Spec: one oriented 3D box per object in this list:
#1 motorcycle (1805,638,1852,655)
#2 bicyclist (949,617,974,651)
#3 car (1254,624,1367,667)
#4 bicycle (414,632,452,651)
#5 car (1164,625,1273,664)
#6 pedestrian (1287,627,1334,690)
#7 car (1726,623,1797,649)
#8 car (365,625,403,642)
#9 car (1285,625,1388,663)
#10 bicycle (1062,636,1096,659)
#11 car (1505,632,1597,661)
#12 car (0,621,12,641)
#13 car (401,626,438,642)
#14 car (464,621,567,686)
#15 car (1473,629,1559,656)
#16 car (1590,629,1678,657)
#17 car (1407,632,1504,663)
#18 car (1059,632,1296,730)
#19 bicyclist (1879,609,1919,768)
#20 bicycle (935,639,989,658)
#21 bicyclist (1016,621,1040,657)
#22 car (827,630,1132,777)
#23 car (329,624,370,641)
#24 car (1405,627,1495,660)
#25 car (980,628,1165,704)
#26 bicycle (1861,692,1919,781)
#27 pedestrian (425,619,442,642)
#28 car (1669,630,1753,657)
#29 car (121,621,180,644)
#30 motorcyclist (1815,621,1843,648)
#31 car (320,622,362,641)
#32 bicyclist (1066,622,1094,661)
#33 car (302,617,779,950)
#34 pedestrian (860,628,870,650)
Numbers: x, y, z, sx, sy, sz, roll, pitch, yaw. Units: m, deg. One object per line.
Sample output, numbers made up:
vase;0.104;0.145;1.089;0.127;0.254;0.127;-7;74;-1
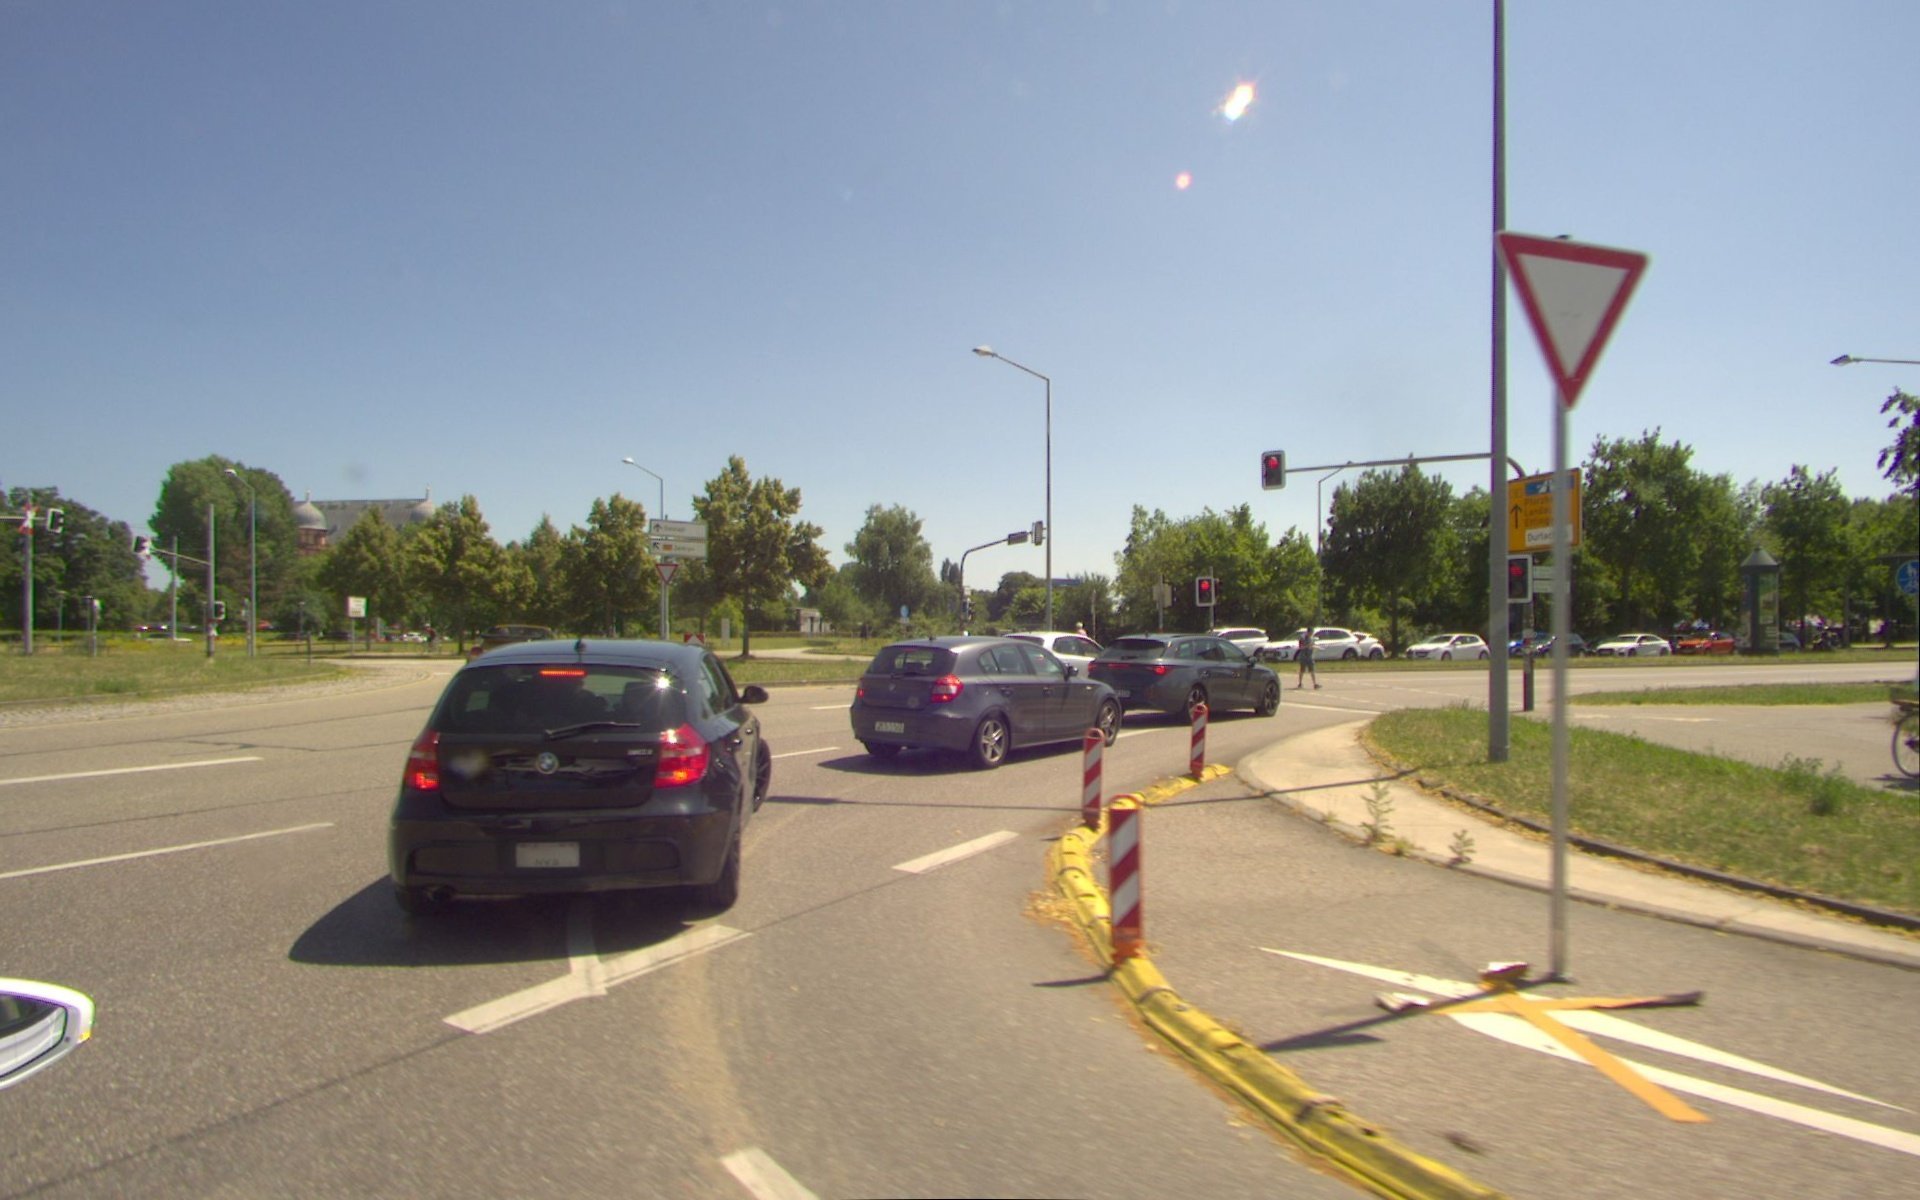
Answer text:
motorcycle;52.745;2.820;60.777;2.768;0.964;0.897;1;-3;-19
bicyclist;0.057;1.689;49.328;0.967;1.634;0.751;-2;-3;40
car;14.688;1.891;41.980;4.335;1.705;1.859;1;-1;-22
bicycle;-33.099;2.605;62.909;2.021;1.129;0.729;1;-2;-15
car;11.204;1.919;43.370;4.335;1.639;1.859;1;-1;-22
pedestrian;9.405;1.571;26.904;0.744;1.658;0.954;1;-2;-21
car;47.200;2.132;58.965;3.736;1.493;1.716;2;-3;-23
car;-72.379;4.187;125.838;3.937;2.038;1.994;2;-3;-25
car;17.452;2.004;46.429;4.335;1.705;1.859;1;-1;-22
bicycle;5.053;2.022;42.547;0.881;0.911;2.226;2;-3;-8
car;30.466;2.377;51.601;4.335;1.440;1.859;1;-1;-22
car;-77.912;2.420;79.084;3.941;1.593;1.992;2;-3;-28
car;-70.851;4.494;131.342;3.930;2.038;1.997;1;-3;-18
car;-10.408;1.245;23.688;1.800;1.420;3.656;1;-2;-18
car;30.865;2.323;55.565;4.335;1.440;1.859;1;-1;-22
car;36.507;2.326;54.212;4.335;1.440;1.859;1;-1;-22
car;24.310;2.302;49.130;4.335;1.440;1.859;1;-1;-22
car;3.847;1.282;17.226;1.979;1.436;4.415;-1;-2;44
bicyclist;10.398;0.924;10.377;0.734;1.661;1.163;0;-1;6
bicycle;0.075;2.395;49.296;2.895;0.923;0.735;-2;-3;40
bicyclist;3.065;1.743;45.025;0.941;1.551;1.186;0;0;-3
car;0.410;1.095;12.170;1.730;1.421;4.056;0;-1;35
car;-74.212;3.957;121.770;3.937;2.038;1.994;2;-3;-25
car;25.780;2.277;52.698;4.335;1.705;1.859;1;-1;-22
car;2.428;1.304;21.004;3.962;1.441;1.764;1;-1;-45
bicycle;10.311;1.439;10.250;0.617;0.890;1.877;0;-2;6
pedestrian;-33.068;1.915;62.919;0.803;1.468;0.709;1;-2;-15
car;42.754;2.461;57.012;4.335;1.440;1.859;1;-1;-22
car;-76.815;3.100;95.068;3.937;2.038;1.994;2;-3;-25
motorcyclist;52.773;2.101;60.818;0.993;1.606;0.907;1;-2;-20
car;-72.279;3.705;116.995;3.937;2.038;1.994;2;-3;-25
bicyclist;5.106;1.753;42.626;0.941;1.630;1.186;0;-2;-8
car;-2.212;0.869;6.475;1.768;1.459;4.000;1;-1;-6
pedestrian;-7.433;3.034;78.215;0.564;1.752;0.675;0;-2;9
